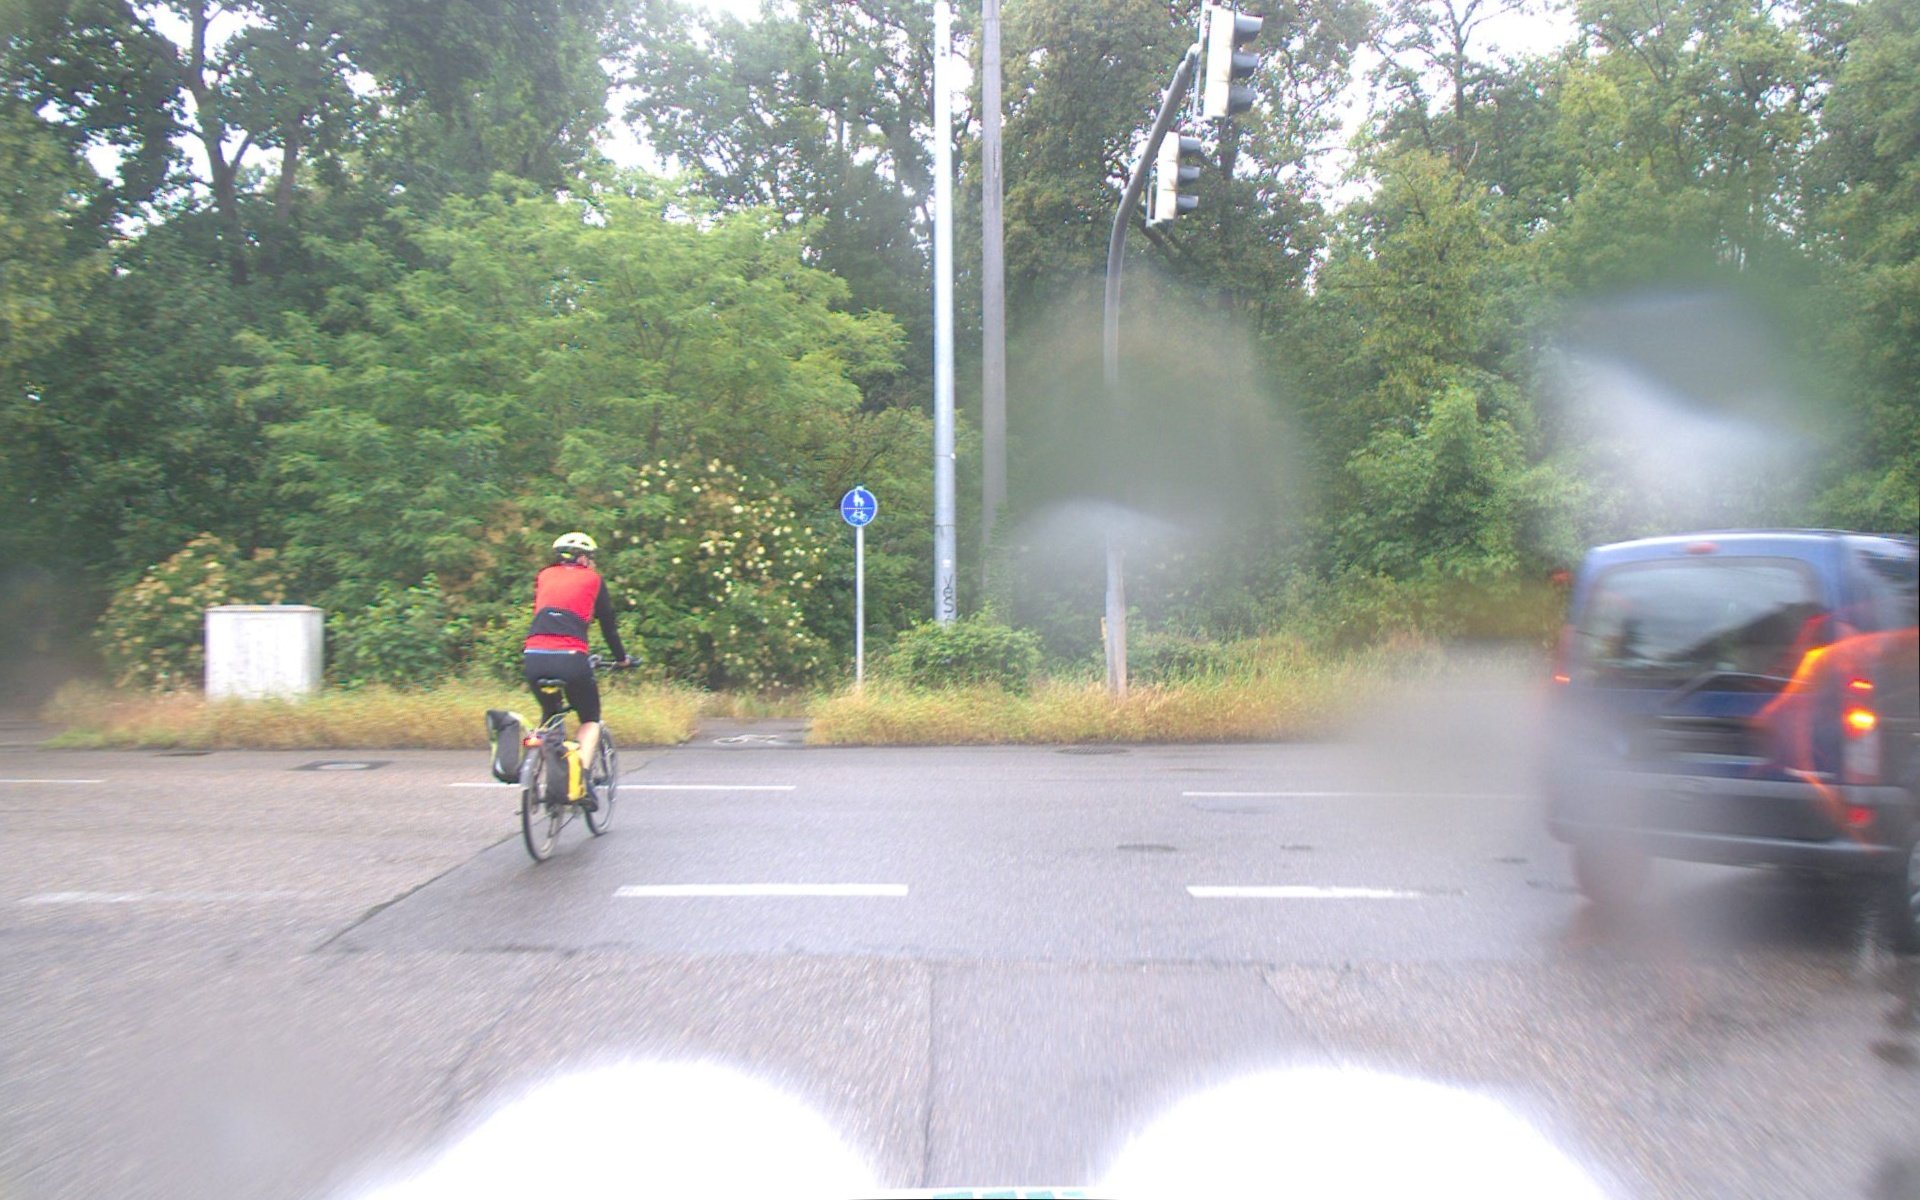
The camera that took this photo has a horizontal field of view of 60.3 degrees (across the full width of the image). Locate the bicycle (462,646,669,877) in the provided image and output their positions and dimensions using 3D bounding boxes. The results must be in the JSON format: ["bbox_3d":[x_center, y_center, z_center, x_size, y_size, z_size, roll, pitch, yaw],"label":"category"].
[{"bbox_3d":[-2.249,0.872,9.707,0.566,1.115,2.155,0,1,4],"label":"bicycle"}]

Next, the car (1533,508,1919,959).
[{"bbox_3d":[4.714,0.547,8.668,1.783,1.829,3.974,-1,-1,43],"label":"car"}]

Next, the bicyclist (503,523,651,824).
[{"bbox_3d":[-2.244,0.406,9.791,0.566,1.681,1.049,0,0,4],"label":"bicyclist"}]
